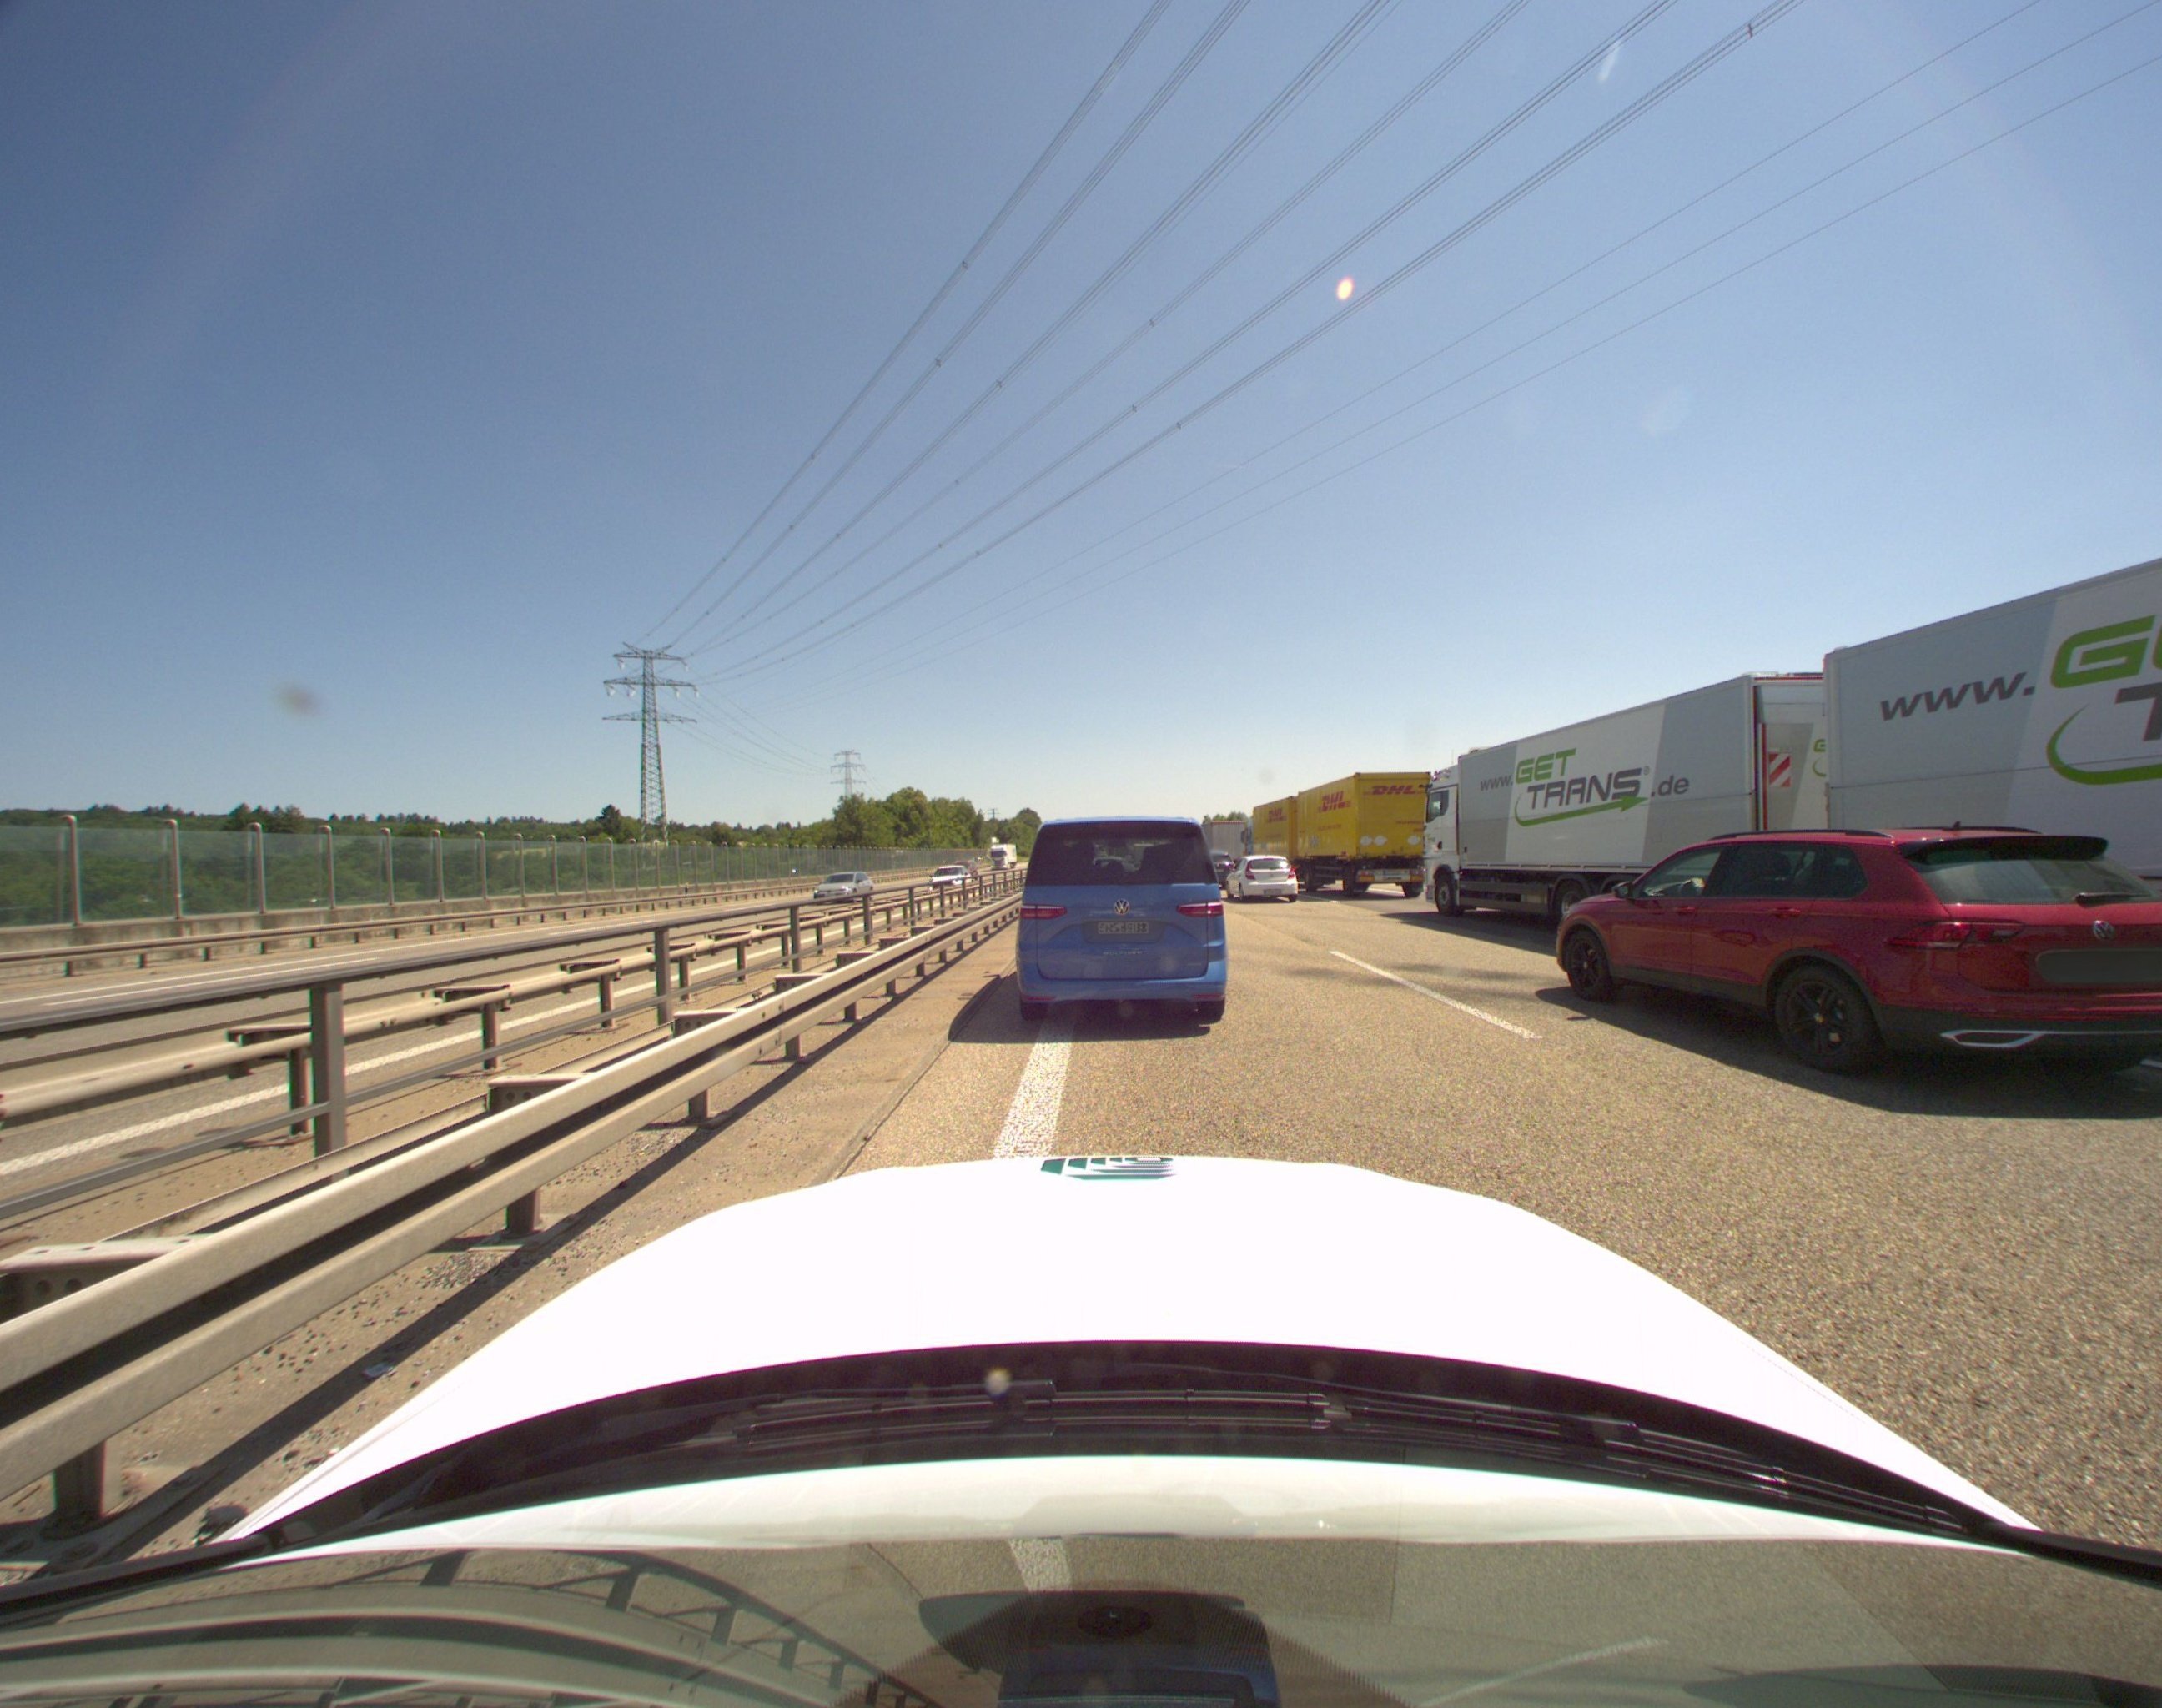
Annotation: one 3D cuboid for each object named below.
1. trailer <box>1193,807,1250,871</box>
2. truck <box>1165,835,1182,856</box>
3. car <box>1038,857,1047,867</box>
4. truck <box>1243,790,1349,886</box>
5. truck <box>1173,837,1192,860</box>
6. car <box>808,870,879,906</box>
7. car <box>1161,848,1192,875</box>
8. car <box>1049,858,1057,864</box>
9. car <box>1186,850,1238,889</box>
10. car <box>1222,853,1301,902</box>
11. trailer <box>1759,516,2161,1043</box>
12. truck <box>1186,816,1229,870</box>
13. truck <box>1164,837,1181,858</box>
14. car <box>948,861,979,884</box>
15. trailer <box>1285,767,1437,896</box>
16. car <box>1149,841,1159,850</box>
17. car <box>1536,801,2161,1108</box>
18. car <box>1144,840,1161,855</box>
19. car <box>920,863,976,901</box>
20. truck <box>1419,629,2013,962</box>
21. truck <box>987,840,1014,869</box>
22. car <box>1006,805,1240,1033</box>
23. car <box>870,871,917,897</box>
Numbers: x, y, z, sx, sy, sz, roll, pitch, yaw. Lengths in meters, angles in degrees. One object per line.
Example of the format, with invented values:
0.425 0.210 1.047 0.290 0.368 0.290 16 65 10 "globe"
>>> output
10.982 -1.032 64.603 3.014 4.611 10.930 0 -1 2 "trailer"
11.943 -1.042 105.435 1.790 2.596 4.307 0 -1 2 "truck"
-10.878 2.302 229.841 1.987 2.582 6.651 -4 -1 1 "car"
10.227 -0.633 39.953 2.690 4.088 9.940 0 -1 1 "truck"
11.344 -0.601 91.270 1.791 2.449 4.506 0 -1 2 "truck"
-11.060 1.529 38.289 1.865 1.442 4.386 -3 -1 1 "car"
6.921 0.562 59.262 1.955 1.936 3.933 0 -1 2 "car"
-7.797 1.951 227.867 1.765 1.491 4.607 -2 0 2 "car"
5.879 0.681 37.049 1.809 1.679 3.932 0 -1 1 "car"
5.874 0.742 26.895 1.809 1.470 3.932 0 -1 1 "car"
9.418 -0.563 5.555 2.888 3.891 8.216 0 -1 2 "trailer"
11.378 -0.919 74.028 3.014 4.611 7.925 0 -1 2 "truck"
11.211 -0.747 99.926 1.735 2.549 4.212 0 -1 2 "truck"
-10.074 1.578 69.940 1.833 1.822 4.748 -2 -1 1 "car"
10.055 -0.664 30.478 2.673 4.088 8.980 0 -1 1 "trailer"
14.043 -1.588 156.384 1.790 1.751 3.945 0 -1 2 "car"
5.752 0.579 6.690 1.702 1.679 4.286 -2 -1 2 "car"
9.042 -0.818 102.864 1.912 1.706 4.001 0 -1 2 "car"
-6.400 1.323 39.650 1.865 1.530 3.609 -7 -1 1 "car"
9.712 -0.635 14.958 2.841 3.934 10.612 0 -1 2 "truck"
-12.639 0.170 128.897 2.917 4.293 6.862 -4 -1 3 "truck"
0.413 0.564 8.749 1.923 1.874 4.001 0 -1 2 "car"
-12.075 1.896 52.665 1.865 1.442 4.386 -3 -1 1 "car"
